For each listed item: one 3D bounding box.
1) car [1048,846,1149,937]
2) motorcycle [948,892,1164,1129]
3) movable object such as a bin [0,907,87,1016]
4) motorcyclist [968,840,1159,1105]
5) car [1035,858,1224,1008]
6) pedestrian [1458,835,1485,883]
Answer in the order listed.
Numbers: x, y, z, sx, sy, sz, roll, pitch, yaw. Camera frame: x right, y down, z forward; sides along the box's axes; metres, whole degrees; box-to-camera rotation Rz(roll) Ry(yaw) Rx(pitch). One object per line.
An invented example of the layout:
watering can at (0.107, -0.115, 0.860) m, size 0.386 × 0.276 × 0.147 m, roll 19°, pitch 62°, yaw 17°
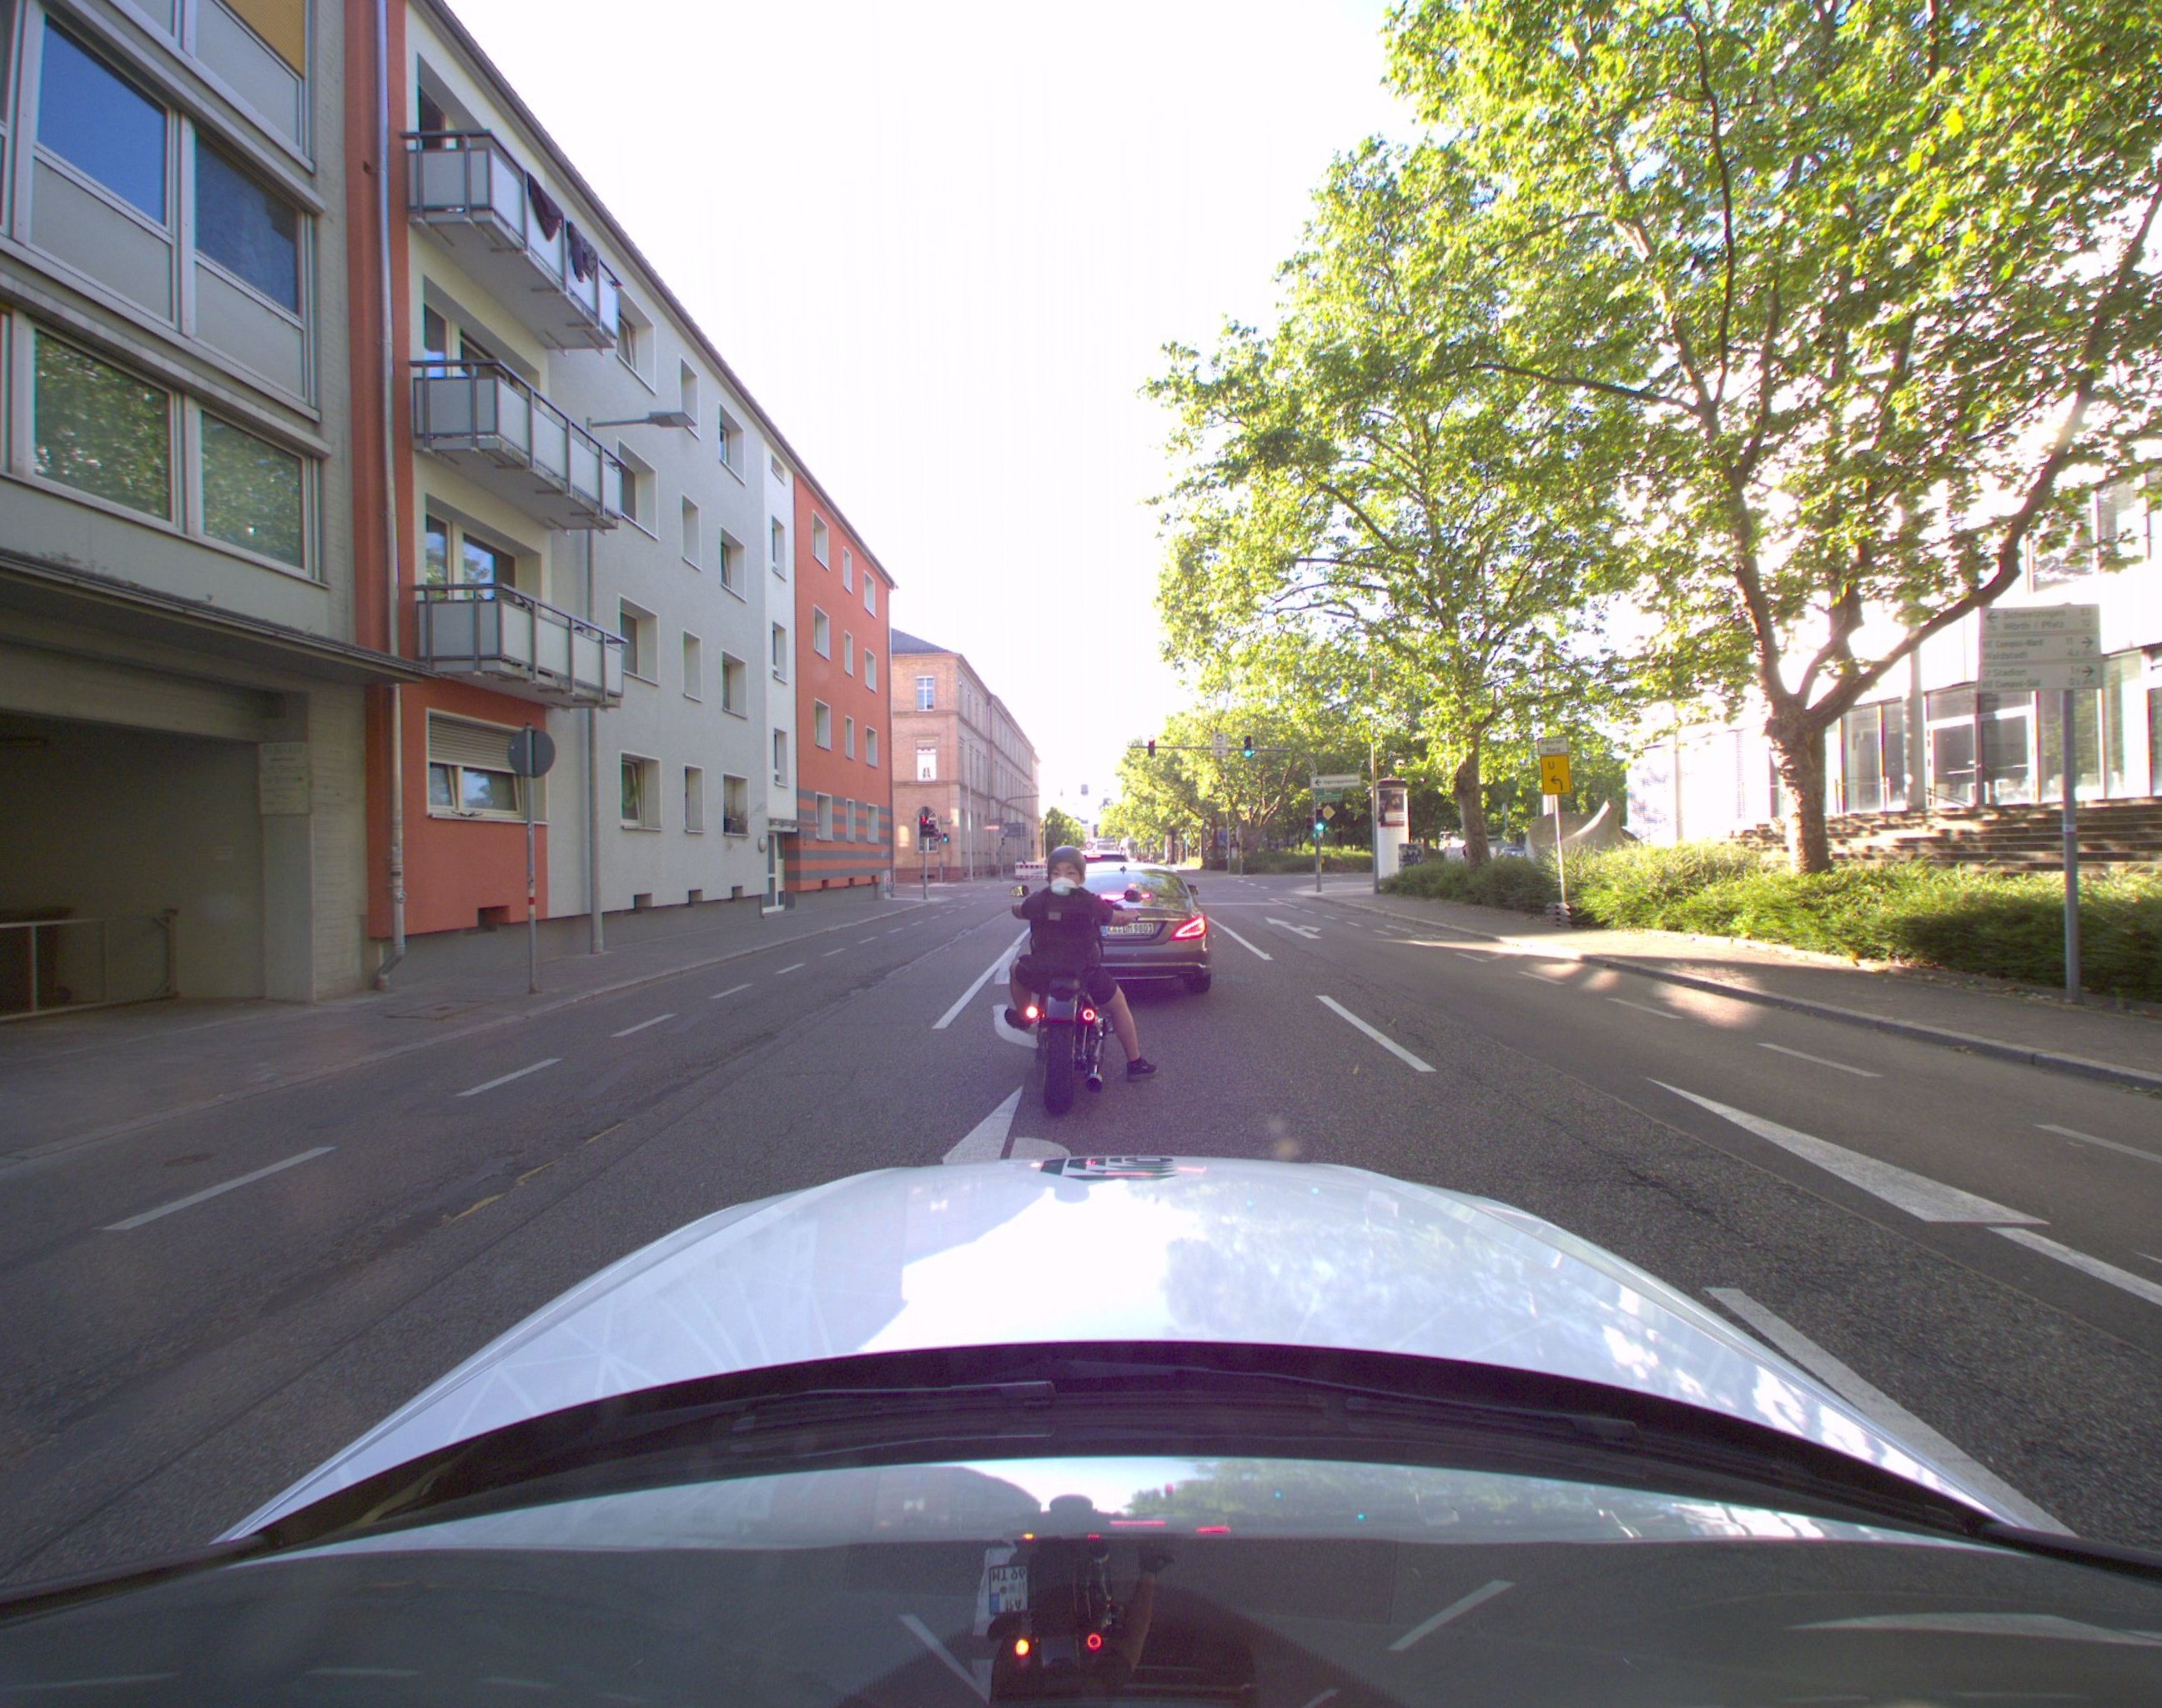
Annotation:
car at (0.387, 0.713, 17.073) m, size 1.856 × 1.678 × 4.001 m, roll 0°, pitch -1°, yaw 2°
motorcycle at (-0.036, 0.914, 5.628) m, size 1.111 × 1.207 × 2.217 m, roll -1°, pitch -1°, yaw 8°
movable object such as a bin at (-11.278, 1.123, 8.652) m, size 0.533 × 1.079 × 0.723 m, roll 0°, pitch -1°, yaw 3°
motorcyclist at (-0.064, 0.707, 5.409) m, size 1.093 × 1.566 × 1.074 m, roll -1°, pitch -1°, yaw 8°
car at (0.526, 0.782, 9.785) m, size 1.815 × 1.437 × 3.807 m, roll 0°, pitch -1°, yaw 2°
pedestrian at (14.596, 0.195, 30.444) m, size 0.731 × 1.778 × 0.731 m, roll -1°, pitch -1°, yaw 10°
